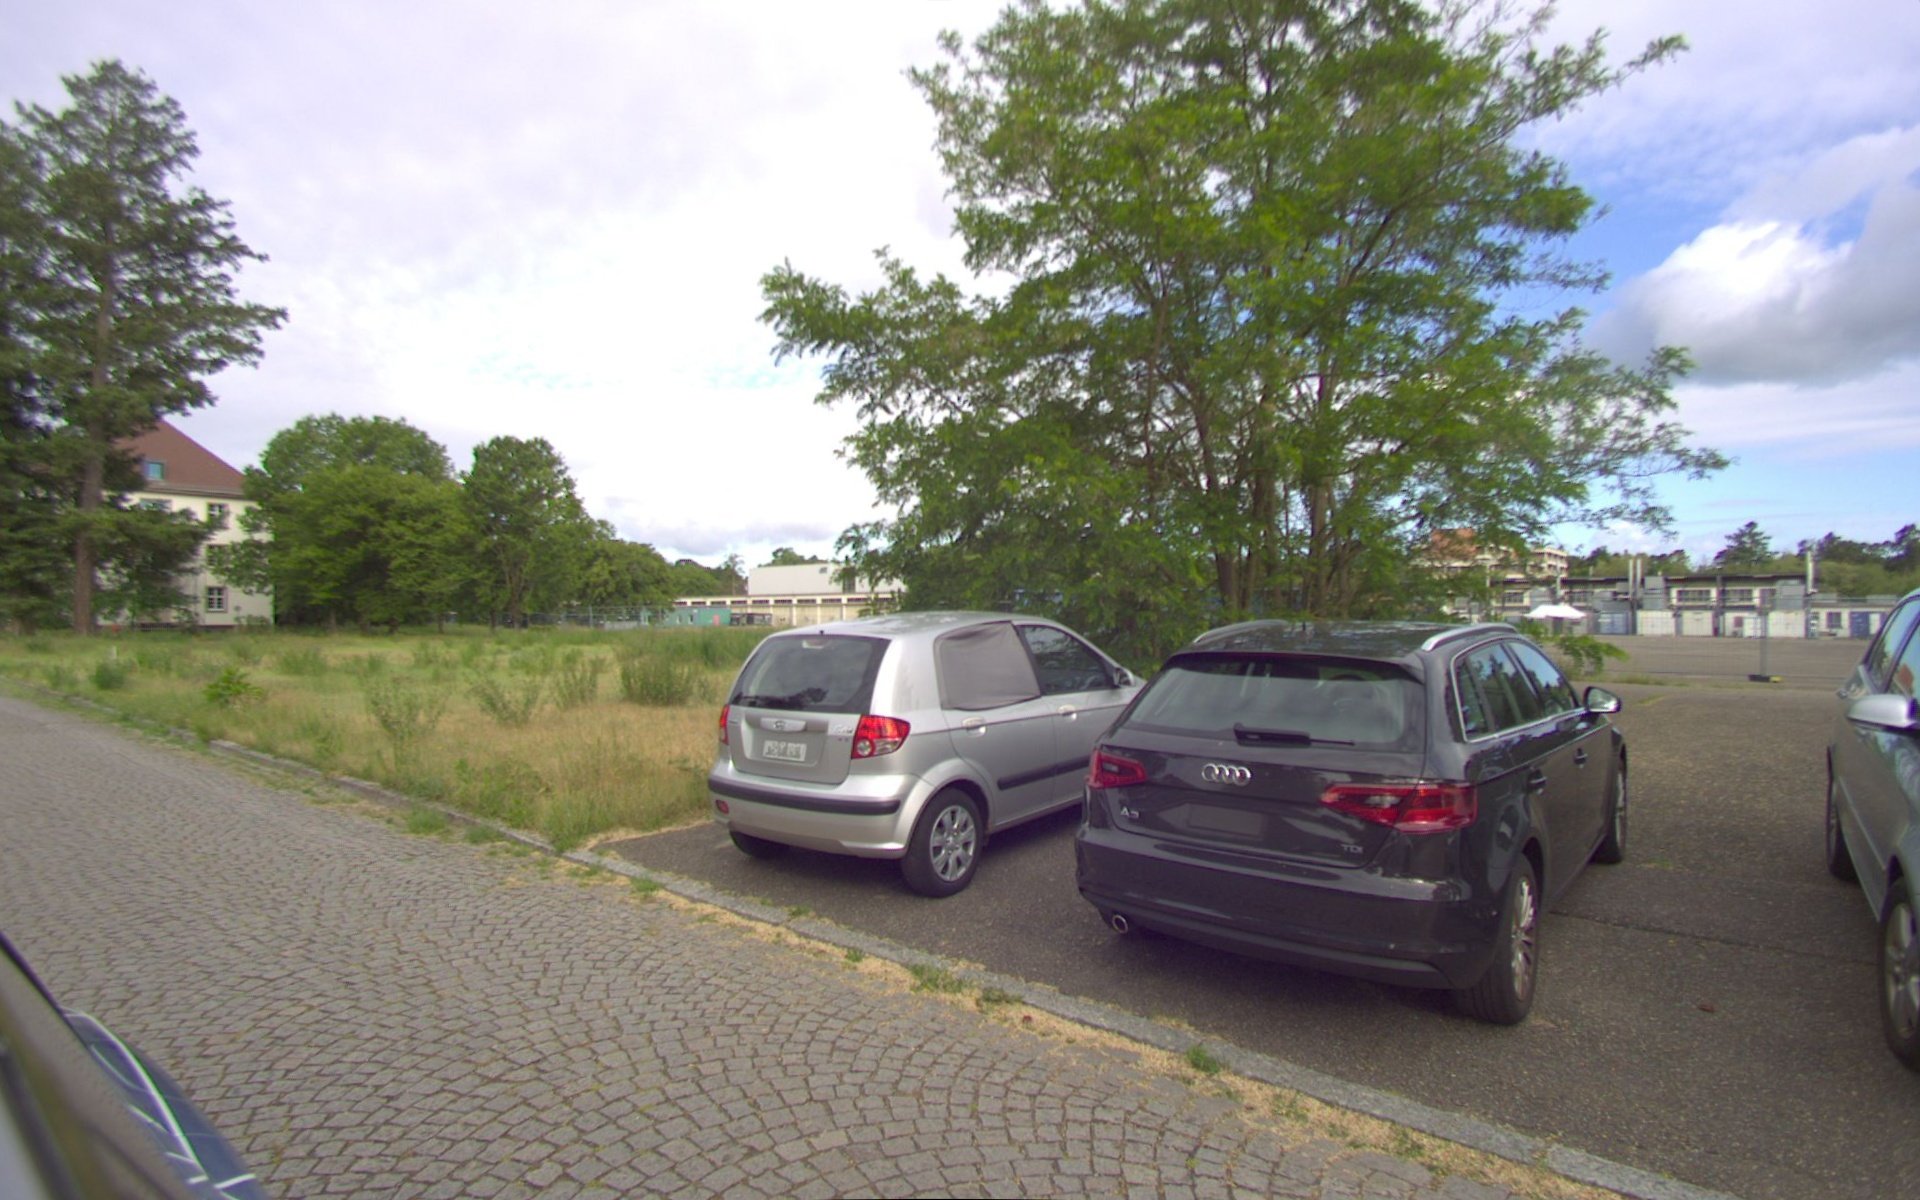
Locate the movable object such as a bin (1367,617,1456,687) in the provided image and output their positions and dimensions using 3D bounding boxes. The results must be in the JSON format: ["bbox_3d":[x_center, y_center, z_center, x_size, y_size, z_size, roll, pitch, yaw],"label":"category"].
[{"bbox_3d":[7.846,0.883,17.544,0.858,1.134,2.239,-1,-2,39],"label":"movable object such as a bin"}]

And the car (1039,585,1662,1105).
[{"bbox_3d":[2.371,0.701,5.208,1.720,1.435,4.391,-1,1,39],"label":"car"}]

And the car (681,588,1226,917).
[{"bbox_3d":[0.243,0.716,6.834,1.583,1.481,3.912,-1,1,38],"label":"car"}]

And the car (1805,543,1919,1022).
[{"bbox_3d":[4.596,0.588,3.748,1.869,1.610,4.325,-1,0,35],"label":"car"}]
